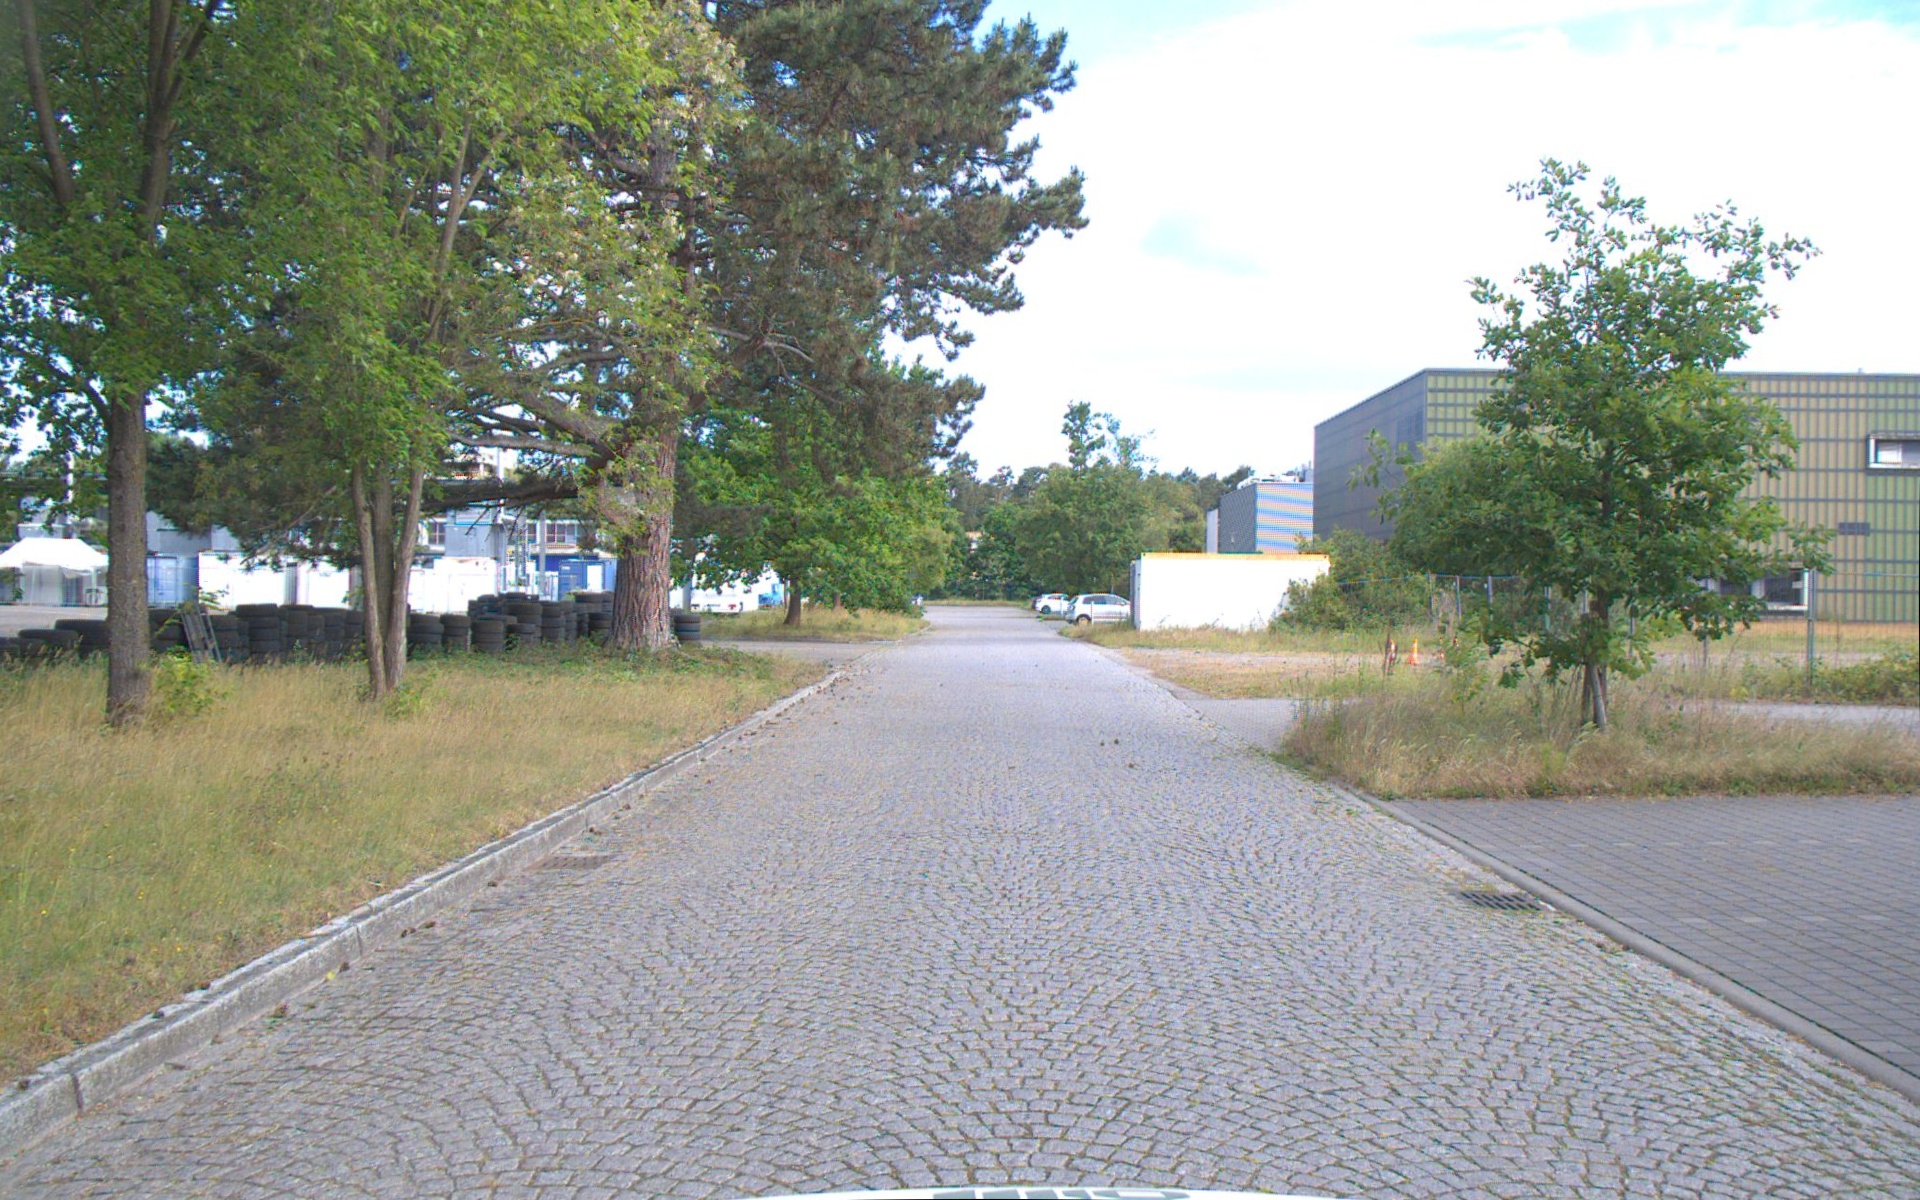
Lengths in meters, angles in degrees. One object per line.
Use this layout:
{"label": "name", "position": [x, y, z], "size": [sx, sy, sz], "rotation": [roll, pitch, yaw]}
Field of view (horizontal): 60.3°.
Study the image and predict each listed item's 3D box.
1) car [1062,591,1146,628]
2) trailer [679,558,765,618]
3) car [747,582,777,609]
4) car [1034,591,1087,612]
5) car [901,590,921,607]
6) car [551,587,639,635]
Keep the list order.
{"label": "car", "position": [6.801, 0.426, 78.157], "size": [3.772, 1.683, 1.685], "rotation": [1, 0, -2]}
{"label": "trailer", "position": [-12.968, -0.652, 90.999], "size": [3.093, 3.121, 8.787], "rotation": [1, 0, 3]}
{"label": "car", "position": [-15.742, -0.382, 131.762], "size": [1.886, 2.083, 4.599], "rotation": [1, 0, -2]}
{"label": "car", "position": [7.535, 0.124, 124.308], "size": [3.942, 1.528, 1.548], "rotation": [1, 0, 1]}
{"label": "car", "position": [-4.516, -0.120, 152.828], "size": [1.767, 1.561, 3.999], "rotation": [1, 0, -2]}
{"label": "car", "position": [-11.766, 0.336, 53.532], "size": [1.729, 1.478, 3.491], "rotation": [1, 0, 6]}
